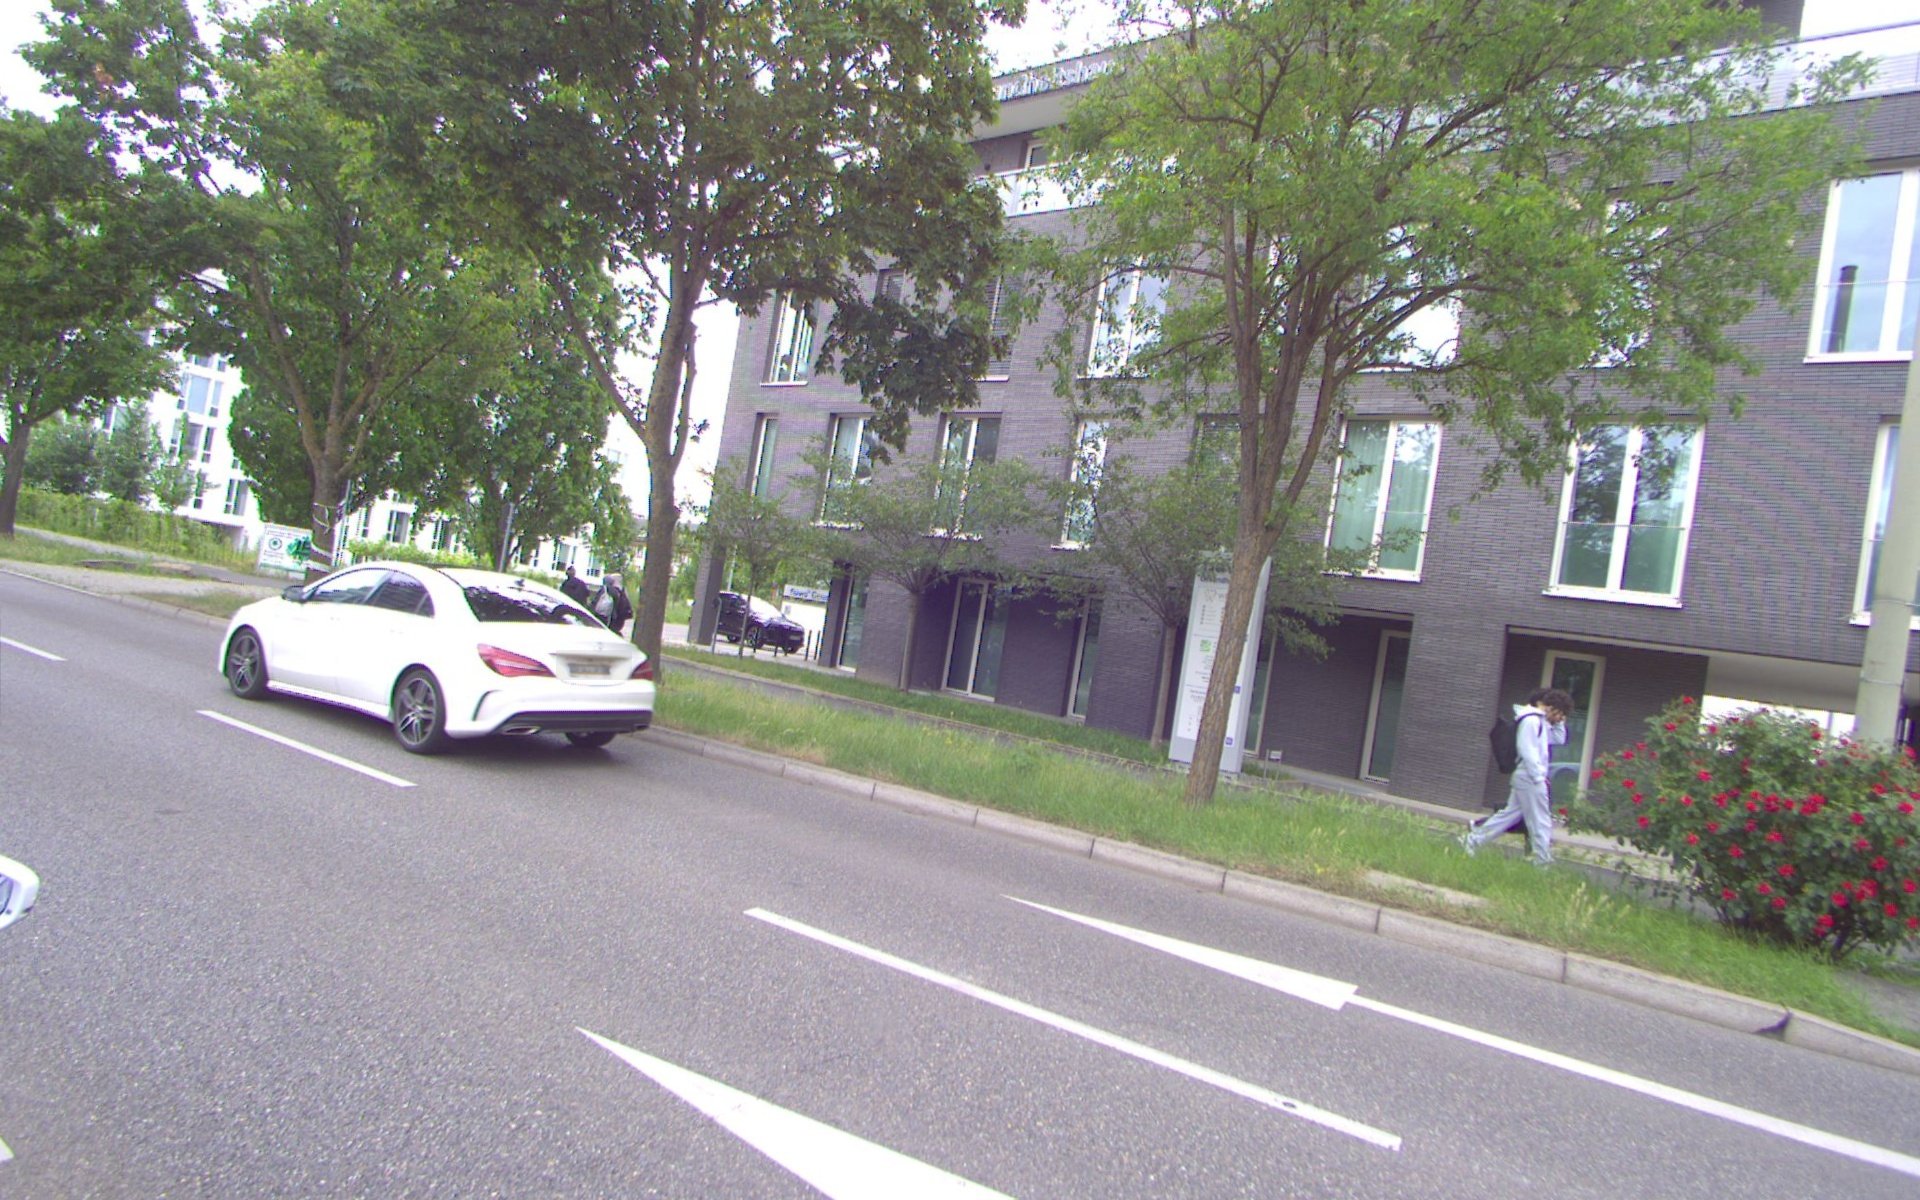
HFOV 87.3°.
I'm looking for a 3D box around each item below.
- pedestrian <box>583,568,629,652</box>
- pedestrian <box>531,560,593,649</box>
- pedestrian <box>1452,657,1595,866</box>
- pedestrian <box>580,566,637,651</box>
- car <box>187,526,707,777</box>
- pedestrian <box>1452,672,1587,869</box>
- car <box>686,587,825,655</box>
[{"bbox_3d":[-6.979,0.198,19.837,0.553,1.568,0.409,6,-4,37],"label":"pedestrian"},{"bbox_3d":[-7.612,0.095,19.260,0.578,1.570,0.726,7,-2,37],"label":"pedestrian"},{"bbox_3d":[5.496,1.542,9.823,0.938,1.796,0.609,10,0,32],"label":"pedestrian"},{"bbox_3d":[-6.991,0.171,19.999,0.732,1.570,0.589,7,-1,37],"label":"pedestrian"},{"bbox_3d":[-4.666,0.368,8.954,4.620,1.489,1.798,6,-3,31],"label":"car"},{"bbox_3d":[5.785,1.734,10.406,0.938,1.796,0.609,10,0,32],"label":"pedestrian"},{"bbox_3d":[-6.556,0.658,32.118,4.112,1.569,1.828,7,-2,34],"label":"car"}]
